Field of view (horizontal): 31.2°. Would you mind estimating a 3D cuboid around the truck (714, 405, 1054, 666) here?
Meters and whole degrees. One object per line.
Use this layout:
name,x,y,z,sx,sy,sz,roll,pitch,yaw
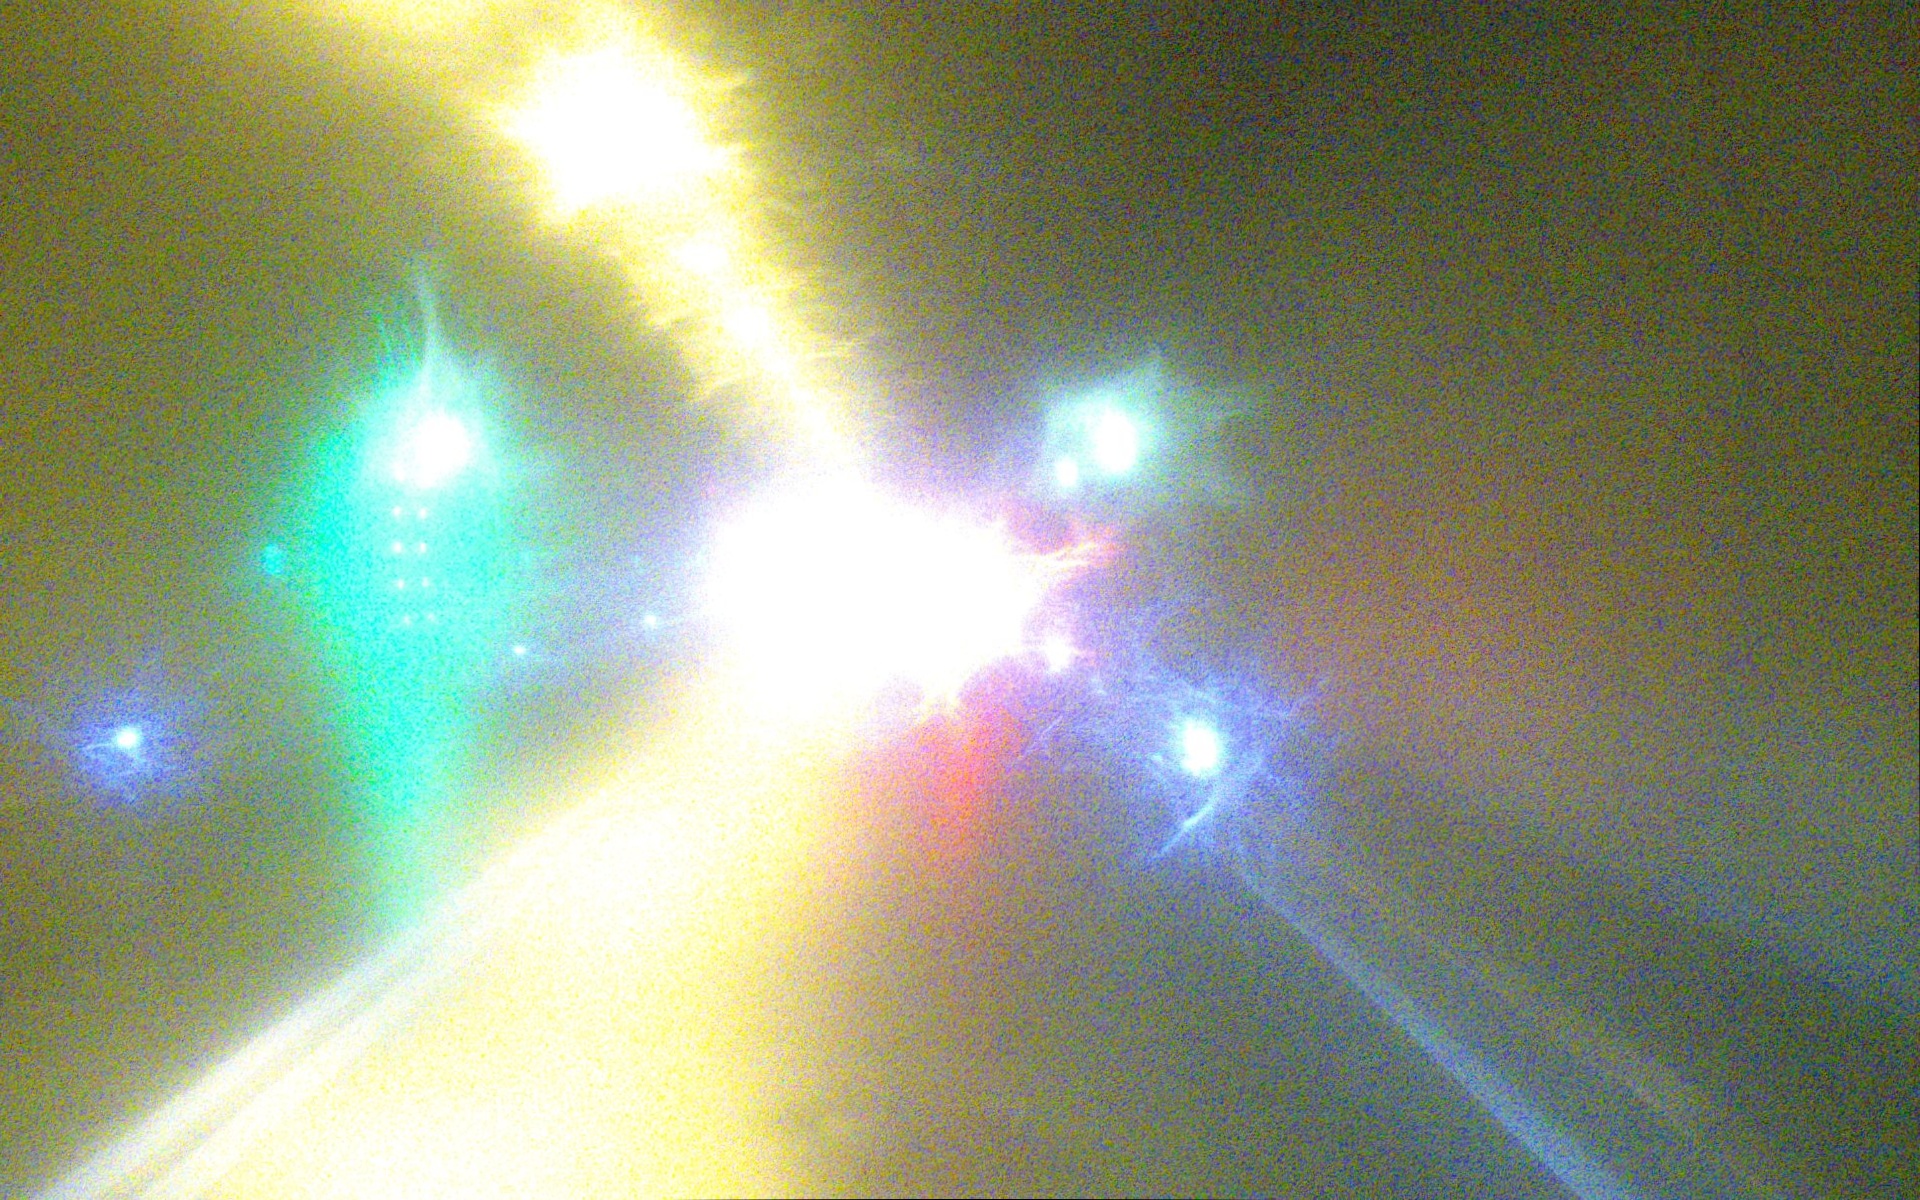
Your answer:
truck,-0.837,-0.742,40.711,3.535,2.684,8.956,-1,1,0
